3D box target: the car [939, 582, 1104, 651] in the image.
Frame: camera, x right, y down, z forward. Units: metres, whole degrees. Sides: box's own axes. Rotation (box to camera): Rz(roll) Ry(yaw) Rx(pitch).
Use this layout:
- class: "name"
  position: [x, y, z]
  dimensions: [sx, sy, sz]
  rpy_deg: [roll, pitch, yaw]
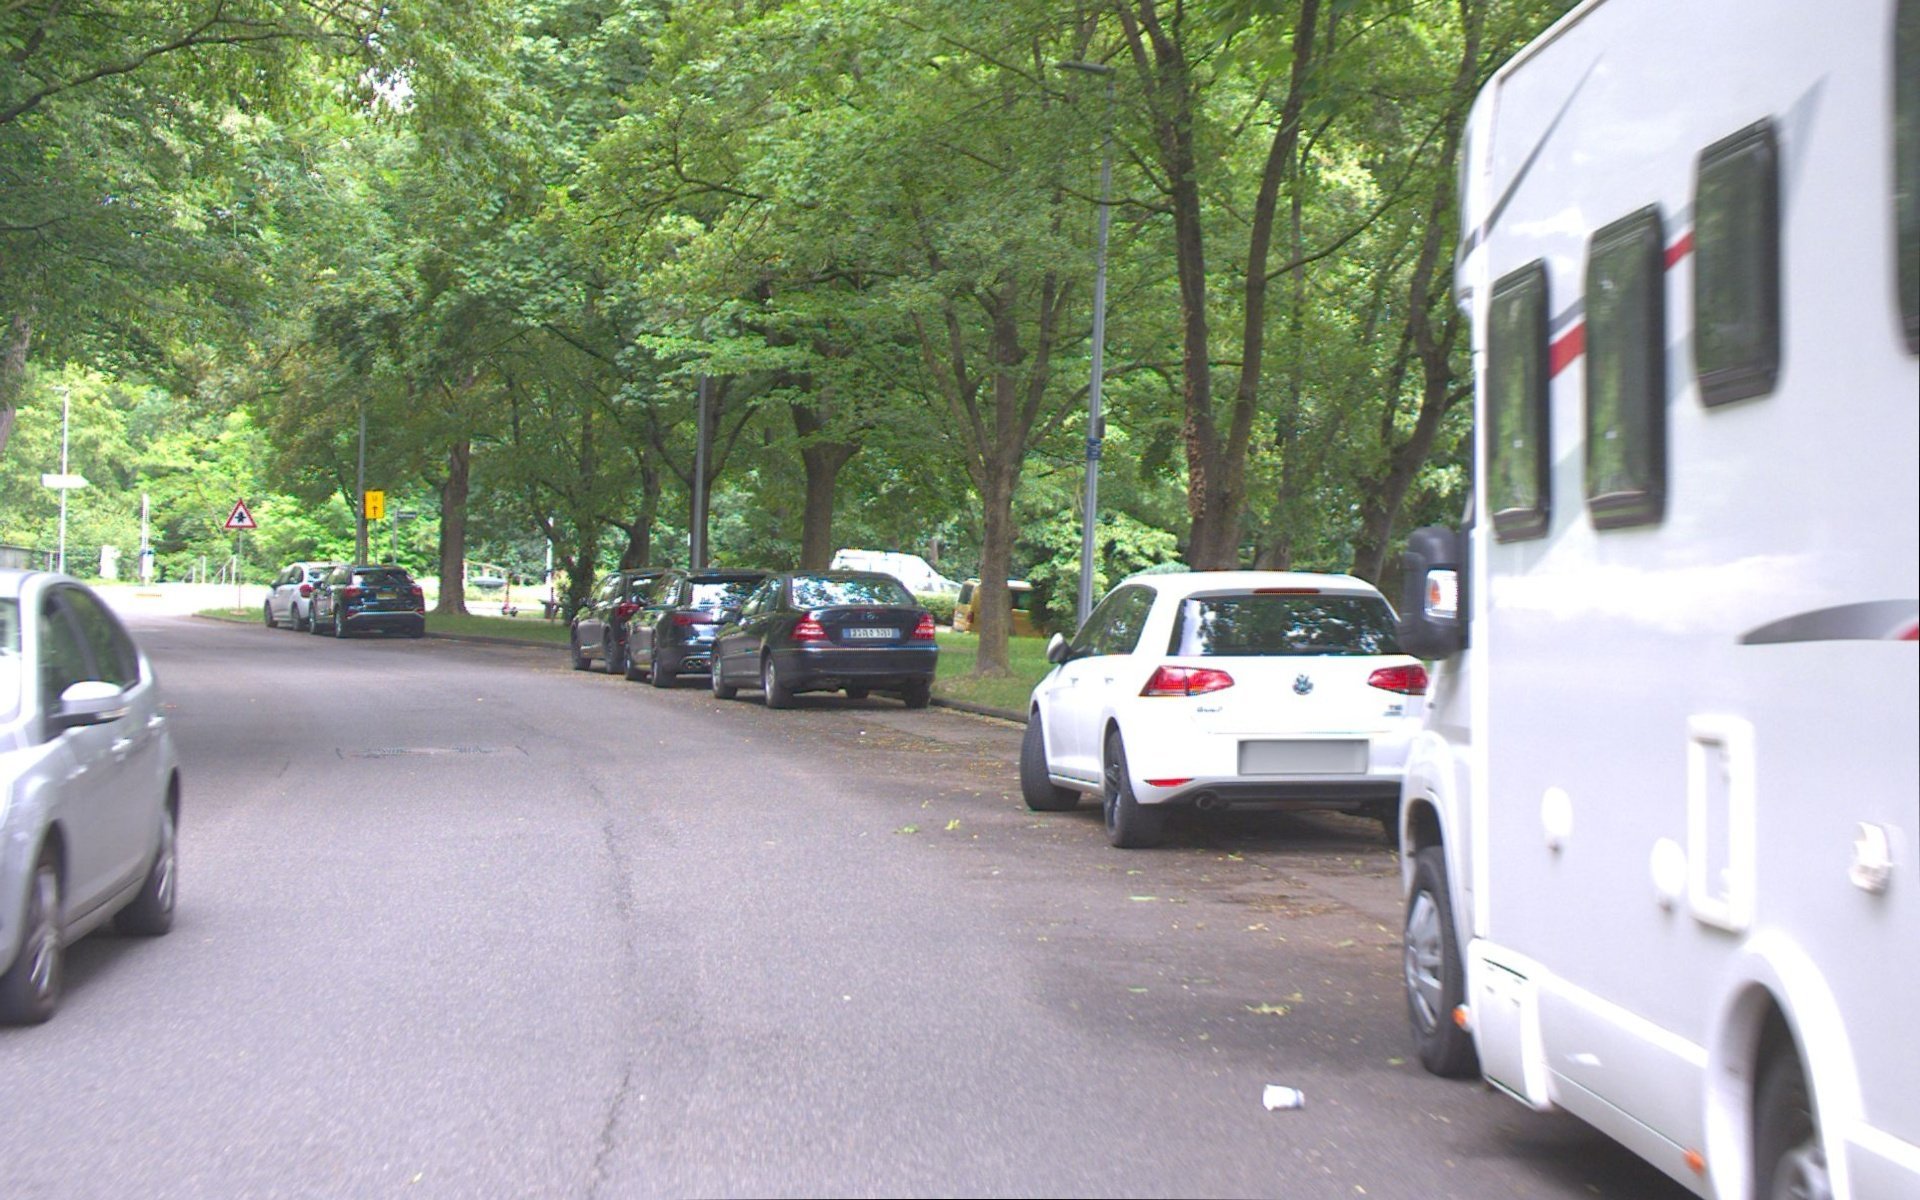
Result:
- class: "car"
  position: [1.764, 0.469, 99.184]
  dimensions: [4.395, 1.842, 1.833]
  rpy_deg: [1, 1, -14]

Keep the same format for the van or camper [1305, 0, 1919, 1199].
- class: "van or camper"
  position: [2.488, -0.096, 7.312]
  dimensions: [2.424, 2.969, 7.394]
  rpy_deg: [1, 1, -2]

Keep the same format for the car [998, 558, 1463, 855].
- class: "car"
  position: [1.402, 0.523, 19.476]
  dimensions: [1.688, 1.477, 4.108]
  rpy_deg: [1, 1, -9]

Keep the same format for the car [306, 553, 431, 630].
- class: "car"
  position: [-12.425, -0.195, 72.006]
  dimensions: [1.773, 1.517, 4.184]
  rpy_deg: [1, 1, -21]

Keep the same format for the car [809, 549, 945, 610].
- class: "car"
  position: [-2.840, -0.705, 117.203]
  dimensions: [4.204, 2.007, 2.001]
  rpy_deg: [1, 1, -18]

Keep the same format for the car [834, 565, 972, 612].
- class: "car"
  position: [-1.897, -0.380, 114.348]
  dimensions: [4.204, 1.493, 1.800]
  rpy_deg: [1, 1, -18]

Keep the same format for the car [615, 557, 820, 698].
- class: "car"
  position: [-3.062, 0.297, 42.481]
  dimensions: [1.913, 1.606, 4.736]
  rpy_deg: [1, 1, -11]

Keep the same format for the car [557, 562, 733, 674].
- class: "car"
  position: [-4.441, 0.221, 48.033]
  dimensions: [1.681, 1.459, 3.899]
  rpy_deg: [1, 1, -17]

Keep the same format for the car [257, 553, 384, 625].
- class: "car"
  position: [-14.212, -0.259, 76.266]
  dimensions: [1.773, 1.517, 3.781]
  rpy_deg: [1, 1, -26]

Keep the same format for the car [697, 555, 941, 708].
- class: "car"
  position: [-1.556, 0.292, 36.329]
  dimensions: [1.588, 1.460, 4.318]
  rpy_deg: [1, 1, -16]

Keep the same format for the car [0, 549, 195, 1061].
- class: "car"
  position: [-3.881, 0.567, 12.059]
  dimensions: [1.794, 1.503, 4.001]
  rpy_deg: [1, 1, -5]
